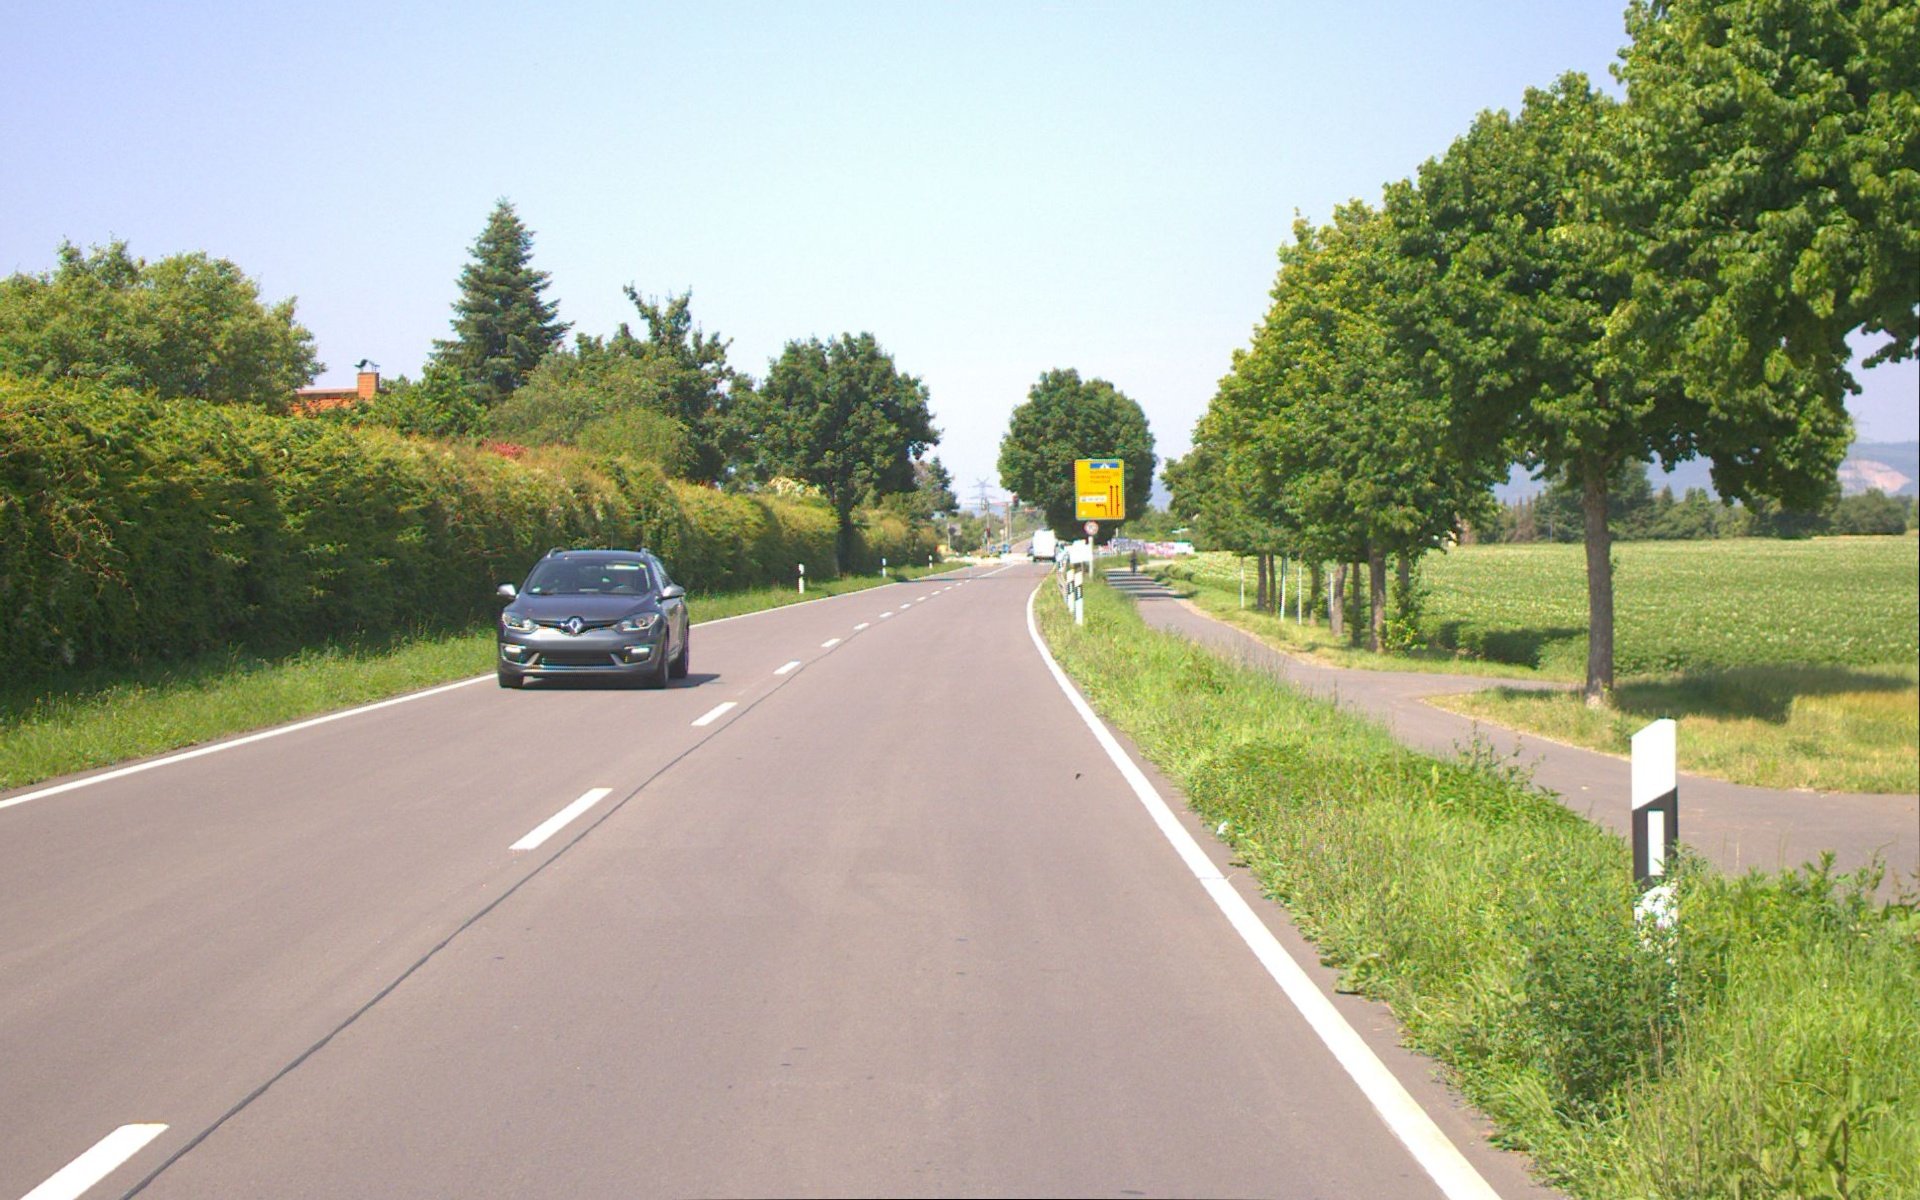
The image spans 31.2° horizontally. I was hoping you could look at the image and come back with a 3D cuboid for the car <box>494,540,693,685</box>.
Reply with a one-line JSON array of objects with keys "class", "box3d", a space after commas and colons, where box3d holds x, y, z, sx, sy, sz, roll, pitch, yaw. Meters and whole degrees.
[{"class": "car", "box3d": [-3.938, 0.090, 37.492, 1.840, 1.462, 3.933, -1, 1, -2]}]
